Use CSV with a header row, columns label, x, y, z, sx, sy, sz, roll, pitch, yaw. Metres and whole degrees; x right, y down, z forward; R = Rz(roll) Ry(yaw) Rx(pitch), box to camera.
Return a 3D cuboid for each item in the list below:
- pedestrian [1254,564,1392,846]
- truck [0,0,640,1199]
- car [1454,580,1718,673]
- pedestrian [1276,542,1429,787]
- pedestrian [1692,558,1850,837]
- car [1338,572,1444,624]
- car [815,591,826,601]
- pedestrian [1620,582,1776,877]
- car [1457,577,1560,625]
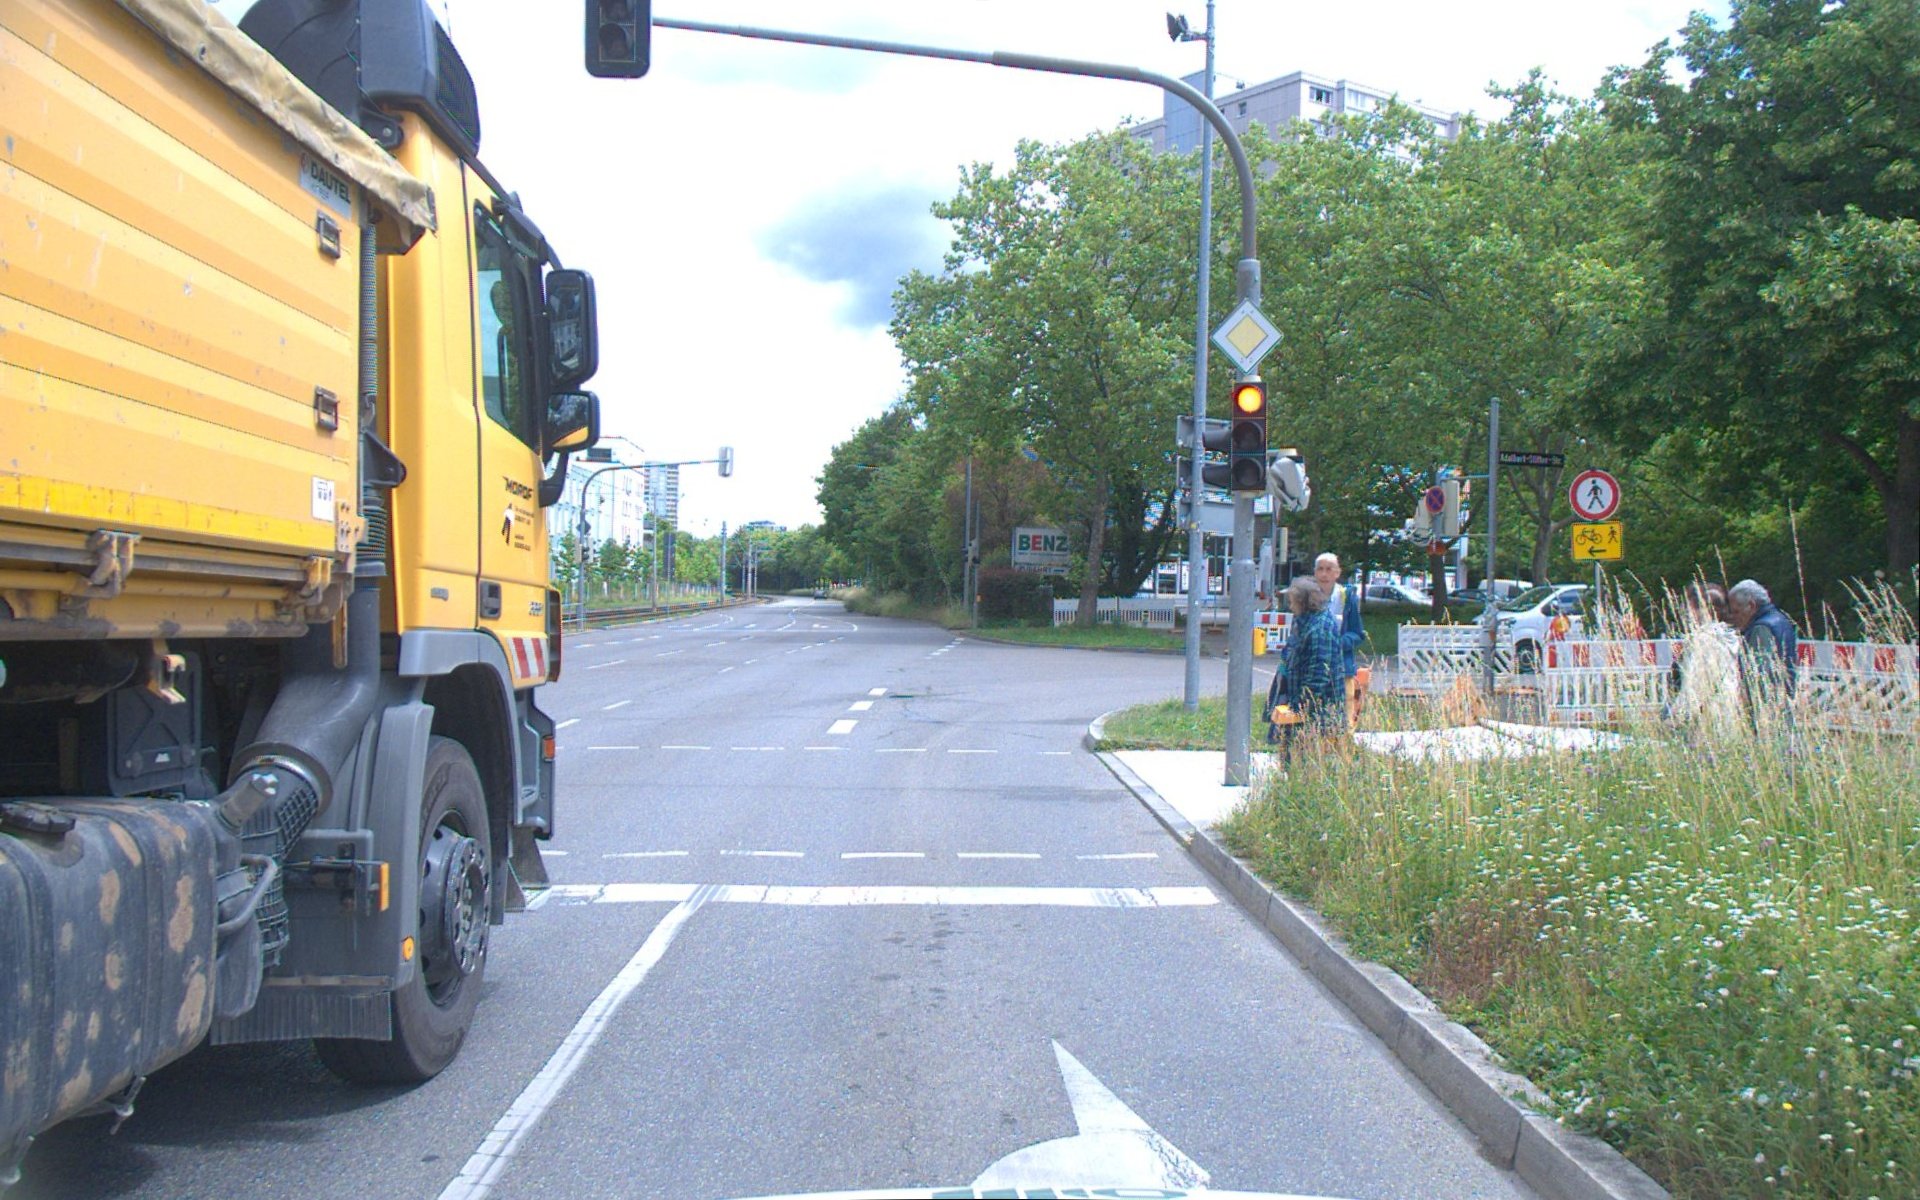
label,x,y,z,sx,sy,sz,roll,pitch,yaw
pedestrian,2.305,0.631,10.451,0.805,1.700,0.734,1,0,15
truck,-2.692,-0.274,2.727,2.988,3.453,8.003,1,0,-2
car,13.450,0.553,35.674,4.976,1.906,1.947,1,0,-5
pedestrian,3.000,0.476,12.741,0.926,1.805,1.013,1,0,0
pedestrian,5.114,0.577,10.418,0.852,1.663,0.764,1,0,28
car,17.596,-0.102,67.695,1.974,2.049,3.957,0,0,-32
car,-20.835,-0.601,246.852,1.563,1.378,3.996,1,0,-5
pedestrian,4.406,0.732,9.904,0.806,1.668,0.733,1,0,24
car,24.017,0.030,72.552,1.974,2.049,3.957,0,0,-32
